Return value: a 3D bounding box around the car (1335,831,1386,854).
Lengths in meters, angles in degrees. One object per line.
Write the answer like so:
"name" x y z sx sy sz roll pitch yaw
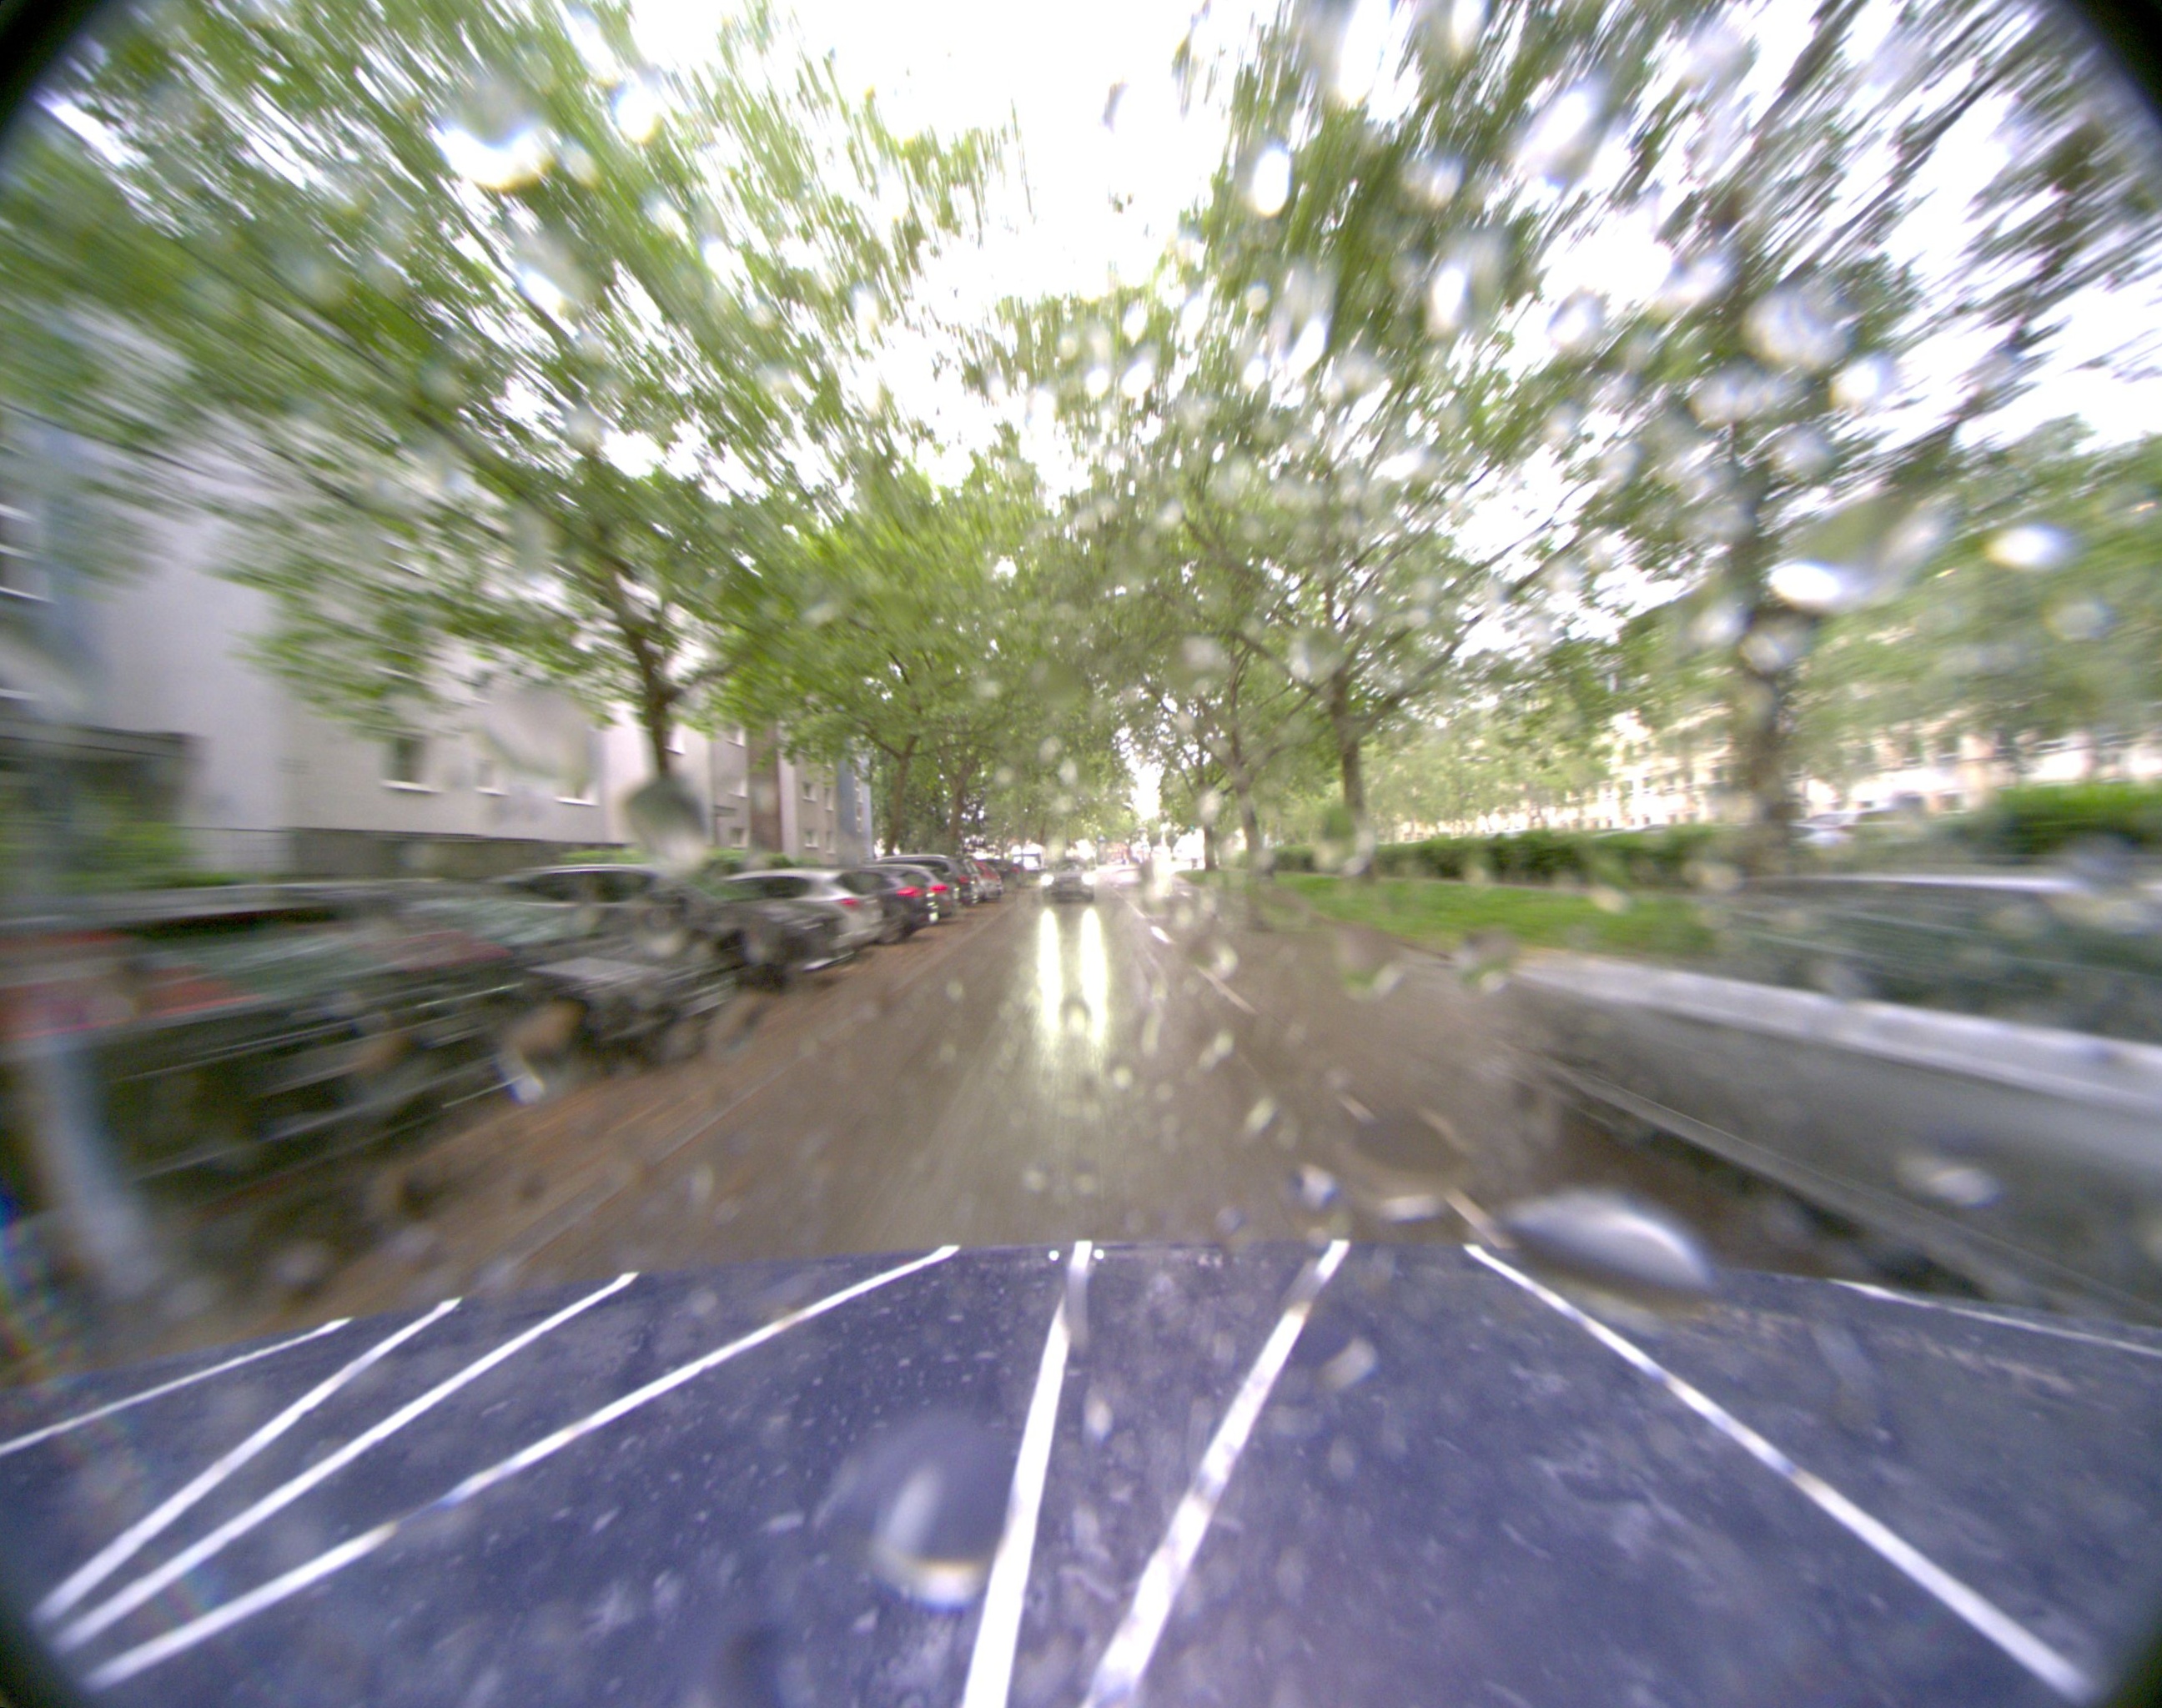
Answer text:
"car" 26.545 -1.082 72.274 3.998 1.822 1.854 -4 0 -3

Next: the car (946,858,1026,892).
"car" -5.308 1.168 42.601 4.005 1.592 1.799 -4 0 -30

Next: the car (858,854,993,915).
"car" -5.130 0.979 25.441 3.997 1.717 1.801 -4 0 1

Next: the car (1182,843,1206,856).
"car" 22.282 -0.980 149.308 2.190 2.242 4.893 -4 0 41

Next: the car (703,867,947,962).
"car" -4.773 1.104 14.604 4.046 1.432 1.685 -4 0 -3

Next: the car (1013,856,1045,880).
"car" -3.855 1.021 56.080 1.693 1.643 2.943 -4 0 -16

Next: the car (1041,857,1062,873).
"car" -2.835 1.063 74.128 1.552 1.382 4.150 -4 0 3

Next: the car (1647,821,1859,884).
"car" 17.879 -0.042 20.355 3.998 1.584 2.000 0 0 -3

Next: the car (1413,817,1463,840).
"car" 55.279 -3.941 117.836 6.212 3.175 2.838 -4 0 -2

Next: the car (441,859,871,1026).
"car" -5.055 1.002 9.529 4.221 1.646 1.913 -3 0 0

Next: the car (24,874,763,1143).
"car" -4.945 1.047 5.988 4.052 1.521 1.780 -3 0 -2

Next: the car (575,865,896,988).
"car" -5.308 1.077 12.119 4.221 1.575 1.746 -3 0 -2

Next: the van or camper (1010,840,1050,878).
"van or camper" -4.050 0.392 61.717 2.324 2.791 6.864 -4 0 2

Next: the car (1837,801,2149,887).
"car" 18.120 -0.189 15.245 3.998 1.584 2.000 0 0 -3

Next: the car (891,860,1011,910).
"car" -4.679 1.094 27.744 3.997 1.504 1.801 -4 0 -1

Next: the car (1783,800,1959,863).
"car" 27.678 -0.762 26.724 3.996 2.002 2.000 -2 0 2

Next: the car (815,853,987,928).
"car" -5.014 1.000 21.594 4.348 1.751 1.819 -4 0 0

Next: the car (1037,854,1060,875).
"car" -2.888 0.949 68.493 1.921 1.611 4.452 -4 1 -1

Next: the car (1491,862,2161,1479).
"car" 3.380 0.761 2.436 1.683 1.380 4.549 -2 0 1

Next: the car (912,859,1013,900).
"car" -4.701 1.007 30.508 3.712 1.527 1.738 -1 0 3

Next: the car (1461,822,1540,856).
"car" 27.442 -0.961 49.808 3.997 2.002 2.000 -2 0 1

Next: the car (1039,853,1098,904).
"car" -0.387 0.844 28.355 1.961 1.701 4.175 -2 0 2

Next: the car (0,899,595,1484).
"car" -4.634 1.066 3.048 4.110 1.504 1.865 -2 0 1

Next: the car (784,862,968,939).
"car" -4.985 1.112 18.817 3.997 1.528 1.631 -4 0 0

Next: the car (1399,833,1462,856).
"car" 27.163 -0.751 59.163 3.996 1.541 1.886 -4 0 2

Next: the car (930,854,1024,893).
"car" -4.817 0.871 35.130 3.873 1.687 1.834 -1 -1 -27
